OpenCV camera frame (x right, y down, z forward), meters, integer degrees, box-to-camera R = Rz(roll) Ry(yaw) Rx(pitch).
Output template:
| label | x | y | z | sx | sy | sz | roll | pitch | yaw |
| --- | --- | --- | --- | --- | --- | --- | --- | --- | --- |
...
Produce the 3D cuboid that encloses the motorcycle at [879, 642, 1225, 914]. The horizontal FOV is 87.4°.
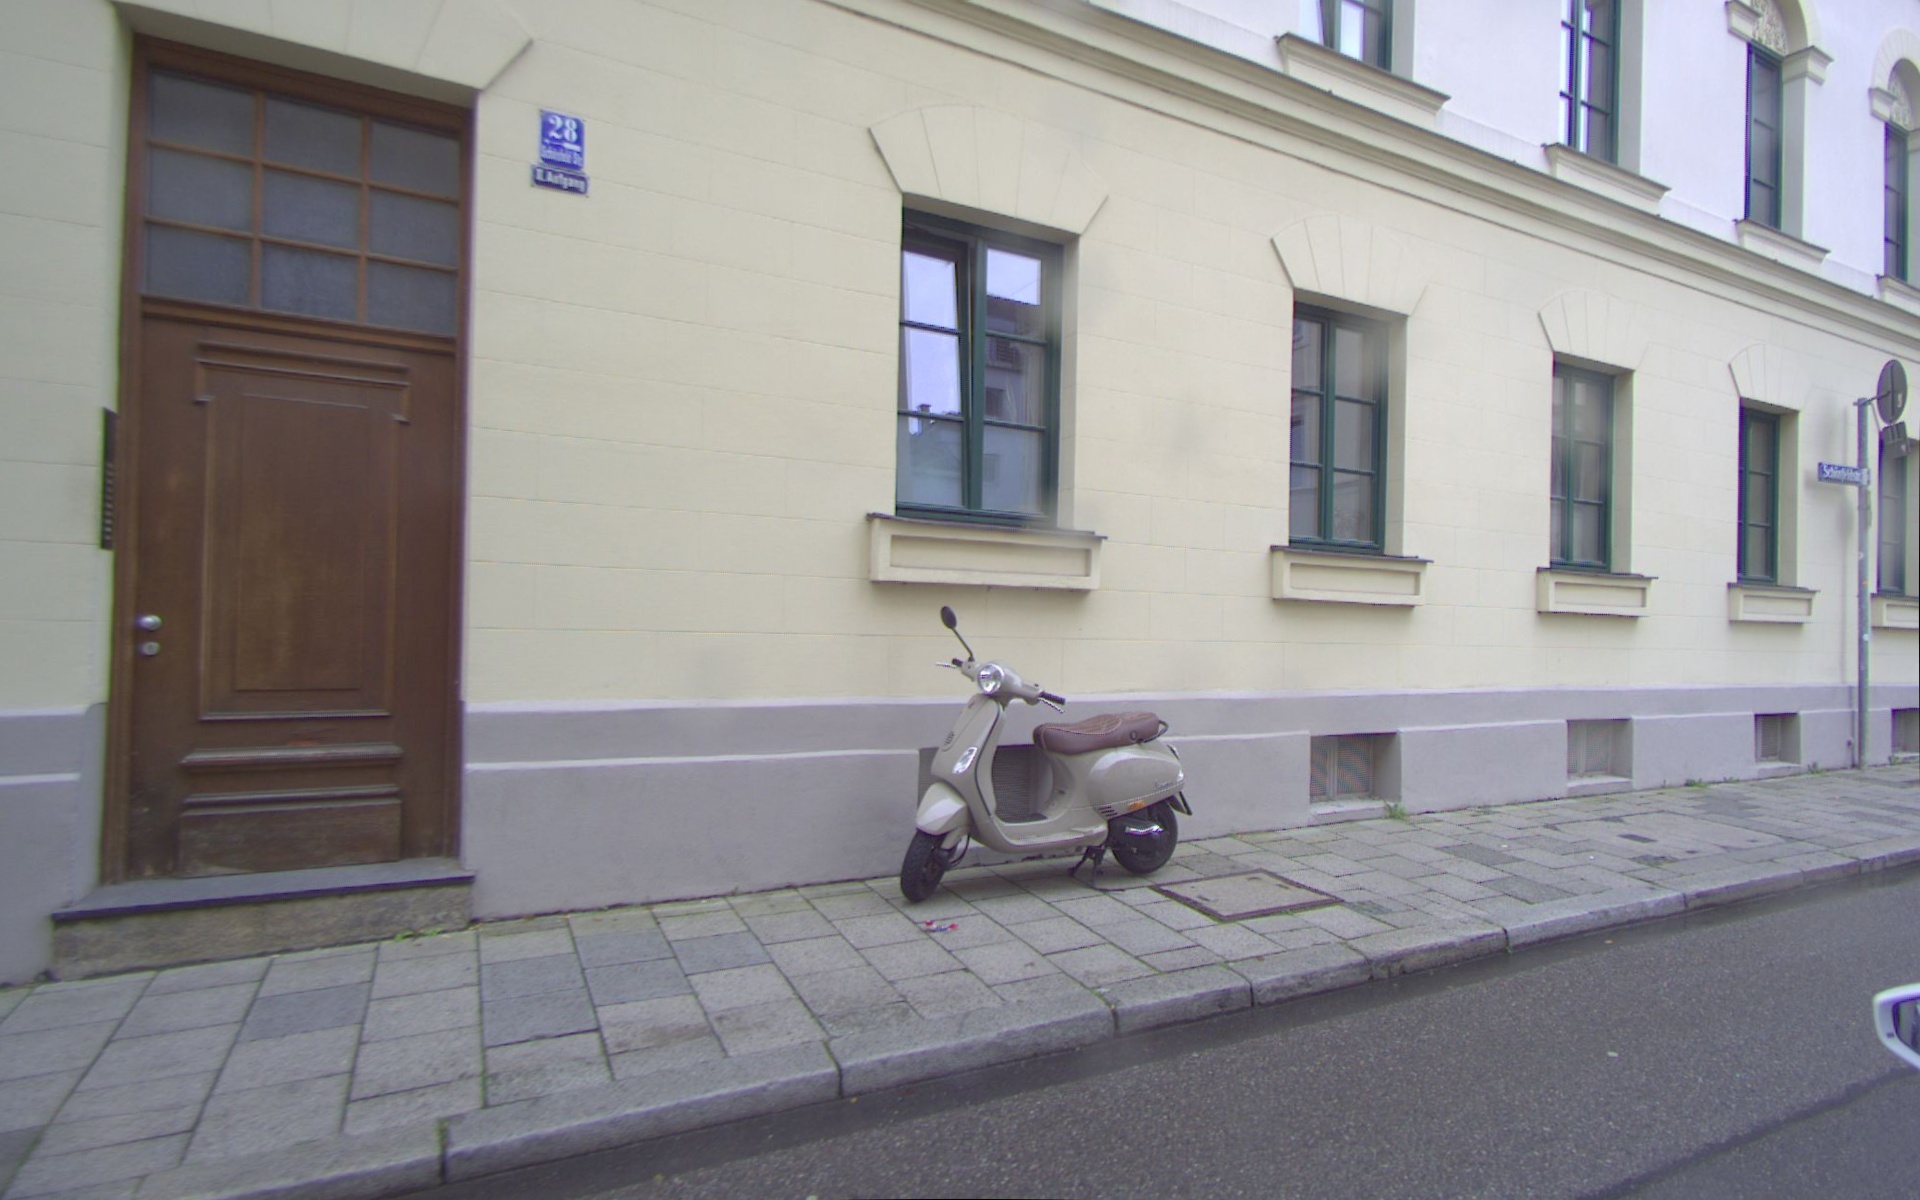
| label | x | y | z | sx | sy | sz | roll | pitch | yaw |
| --- | --- | --- | --- | --- | --- | --- | --- | --- | --- |
| motorcycle | 0.489 | 0.827 | 5.130 | 1.686 | 1.189 | 0.600 | 2 | -1 | -27 |
